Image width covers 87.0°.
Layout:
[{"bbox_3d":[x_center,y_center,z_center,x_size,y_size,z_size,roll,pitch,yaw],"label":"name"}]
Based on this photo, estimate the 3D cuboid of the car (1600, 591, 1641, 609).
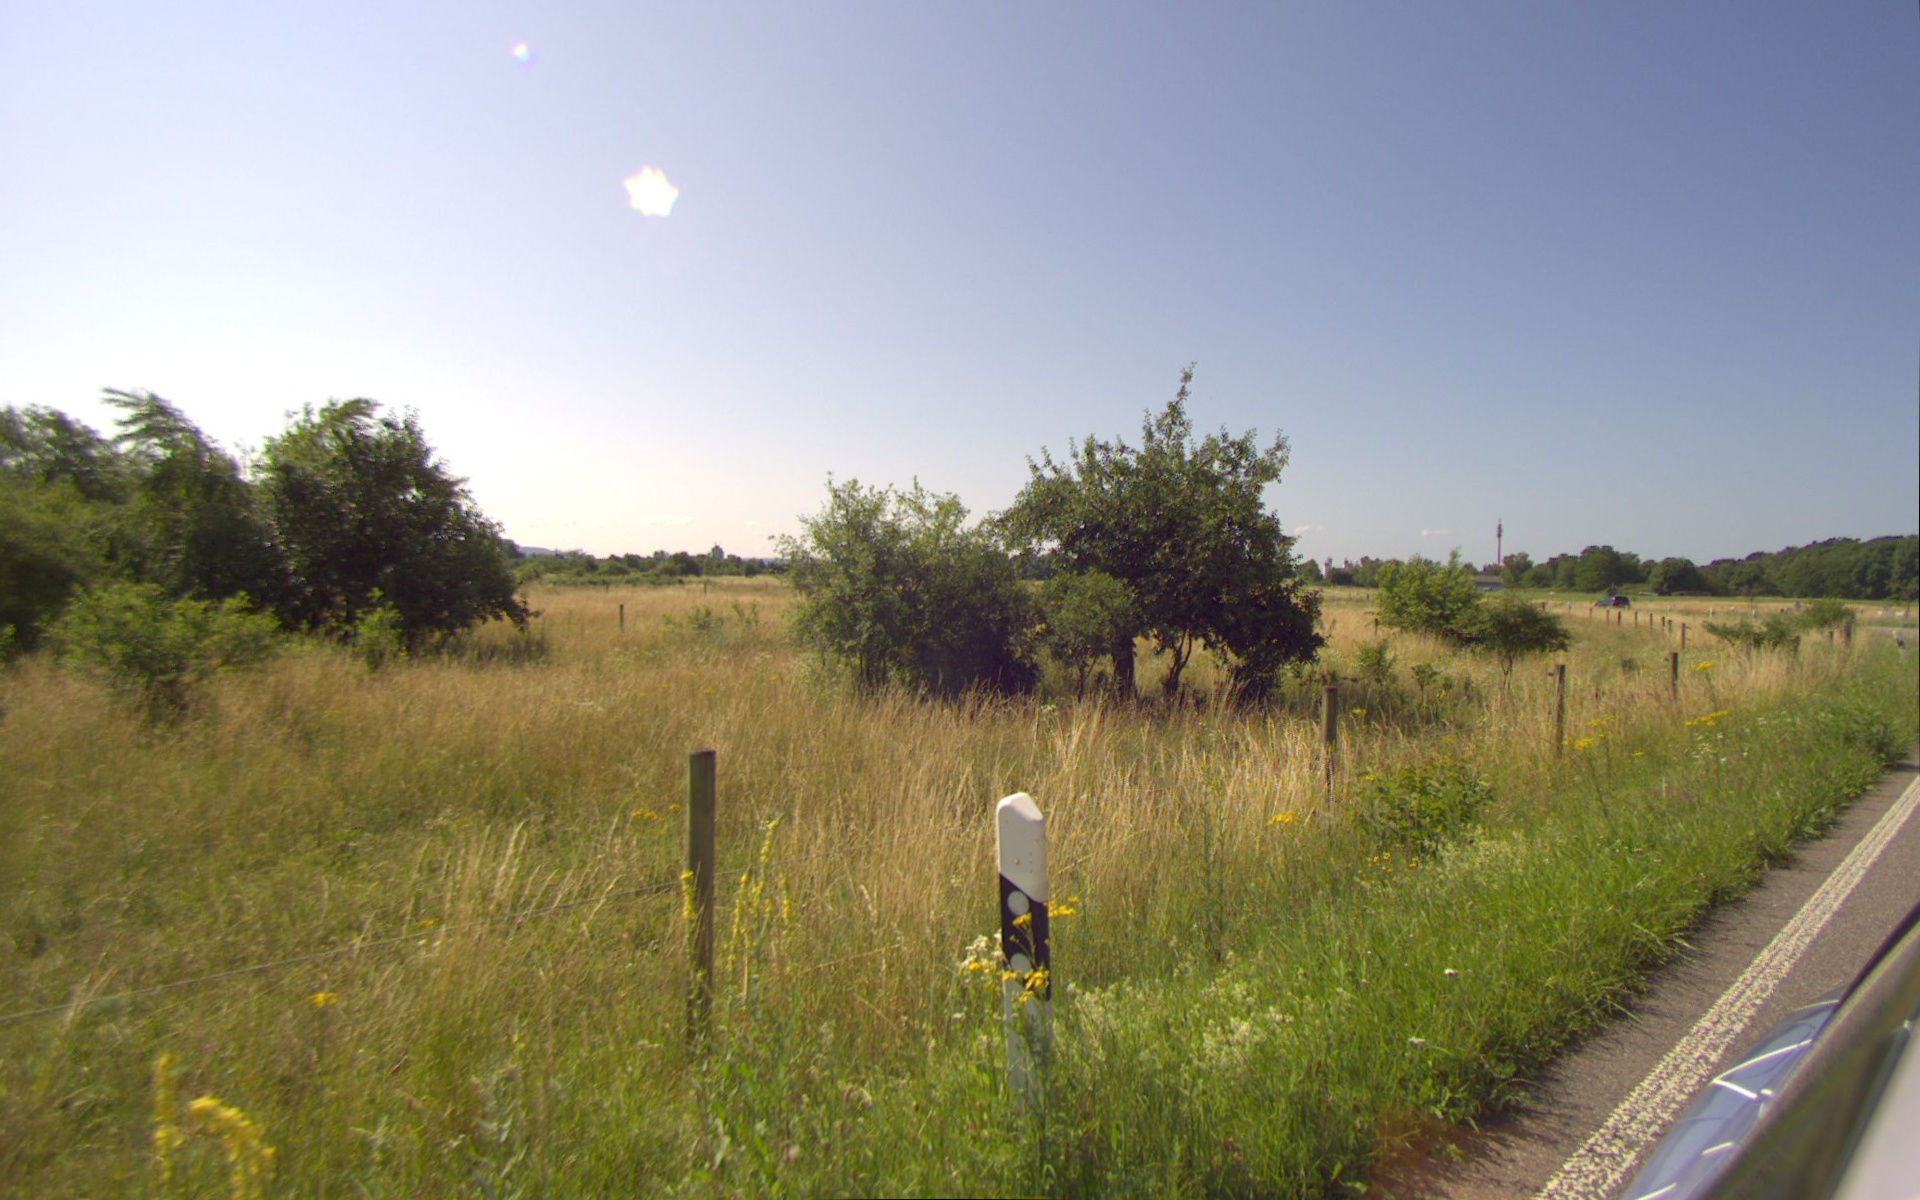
[{"bbox_3d":[64.270,0.007,98.541,1.761,1.652,4.147,3,0,10],"label":"car"}]
